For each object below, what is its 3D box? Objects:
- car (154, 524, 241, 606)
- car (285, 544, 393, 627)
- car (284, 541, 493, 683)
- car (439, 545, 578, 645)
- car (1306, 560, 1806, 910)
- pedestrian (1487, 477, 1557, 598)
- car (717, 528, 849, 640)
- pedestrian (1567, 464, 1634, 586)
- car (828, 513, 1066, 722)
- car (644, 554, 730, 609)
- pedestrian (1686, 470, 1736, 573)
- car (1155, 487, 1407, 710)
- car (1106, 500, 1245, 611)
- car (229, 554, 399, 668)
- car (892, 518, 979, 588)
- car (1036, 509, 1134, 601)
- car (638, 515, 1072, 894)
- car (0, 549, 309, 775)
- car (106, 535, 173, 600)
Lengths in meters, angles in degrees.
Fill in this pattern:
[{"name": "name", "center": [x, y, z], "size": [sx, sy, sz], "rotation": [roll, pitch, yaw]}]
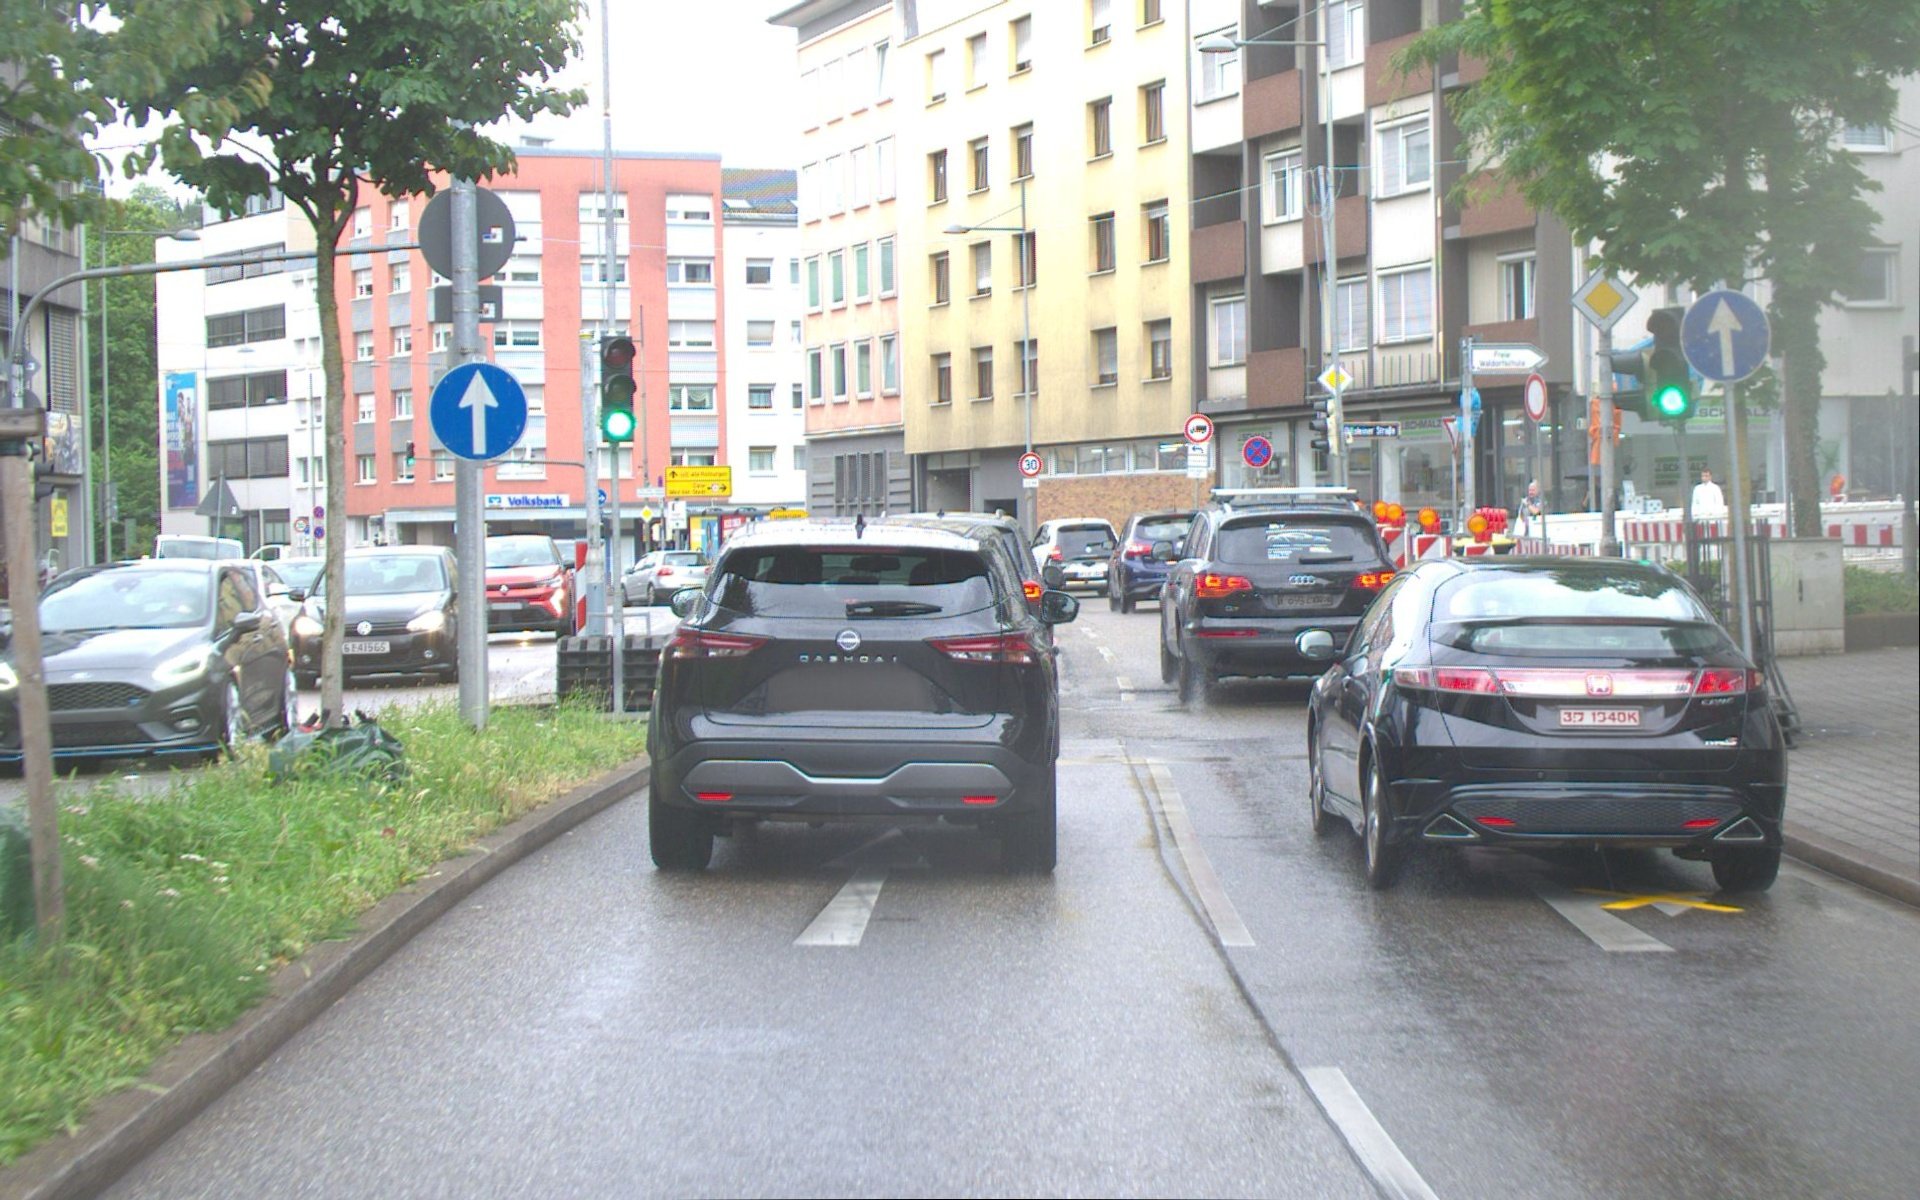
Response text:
[{"name": "car", "center": [-15.016, -0.688, 67.813], "size": [1.549, 1.565, 3.349], "rotation": [1, 0, -11]}, {"name": "car", "center": [-11.986, -0.304, 66.518], "size": [1.640, 1.485, 3.349], "rotation": [-3, 1, -4]}, {"name": "car", "center": [-6.054, 0.086, 36.748], "size": [1.670, 1.365, 3.753], "rotation": [-3, 1, -2]}, {"name": "car", "center": [-6.528, -0.095, 49.985], "size": [1.641, 1.317, 3.349], "rotation": [-3, 1, -2]}, {"name": "car", "center": [2.612, 0.530, 15.870], "size": [1.786, 1.395, 3.718], "rotation": [0, 1, 2]}, {"name": "pedestrian", "center": [9.439, -1.055, 57.779], "size": [0.821, 2.006, 0.840], "rotation": [0, 2, -20]}, {"name": "car", "center": [-2.372, -0.243, 46.156], "size": [1.641, 1.376, 3.349], "rotation": [-3, 1, -3]}, {"name": "pedestrian", "center": [10.700, -1.258, 57.472], "size": [0.821, 2.006, 0.840], "rotation": [1, 2, -10]}, {"name": "car", "center": [-0.136, 0.099, 28.476], "size": [1.823, 1.595, 3.719], "rotation": [1, 1, -1]}, {"name": "car", "center": [-7.123, -0.482, 89.494], "size": [1.640, 1.340, 3.349], "rotation": [-3, 1, -14]}, {"name": "pedestrian", "center": [13.016, -1.363, 59.582], "size": [0.528, 1.763, 0.623], "rotation": [0, 2, -32]}, {"name": "car", "center": [2.732, -0.073, 30.020], "size": [1.830, 1.799, 3.719], "rotation": [1, 2, 0]}, {"name": "car", "center": [3.197, -0.692, 51.544], "size": [1.830, 1.557, 3.719], "rotation": [1, 2, 0]}, {"name": "car", "center": [-8.061, 0.114, 43.132], "size": [1.550, 1.285, 3.349], "rotation": [-3, 1, -2]}, {"name": "car", "center": [-0.539, -0.992, 72.287], "size": [1.641, 1.376, 3.349], "rotation": [-3, 1, -3]}, {"name": "car", "center": [2.443, -0.898, 66.993], "size": [1.830, 1.678, 3.719], "rotation": [1, 2, 2]}, {"name": "car", "center": [-0.479, 0.409, 16.464], "size": [1.823, 1.595, 3.719], "rotation": [1, 1, -1]}, {"name": "car", "center": [-5.858, 0.389, 24.962], "size": [1.532, 1.408, 3.937], "rotation": [-3, 1, -2]}, {"name": "car", "center": [-19.204, -0.780, 80.522], "size": [1.455, 1.425, 3.371], "rotation": [1, 2, -13]}]
